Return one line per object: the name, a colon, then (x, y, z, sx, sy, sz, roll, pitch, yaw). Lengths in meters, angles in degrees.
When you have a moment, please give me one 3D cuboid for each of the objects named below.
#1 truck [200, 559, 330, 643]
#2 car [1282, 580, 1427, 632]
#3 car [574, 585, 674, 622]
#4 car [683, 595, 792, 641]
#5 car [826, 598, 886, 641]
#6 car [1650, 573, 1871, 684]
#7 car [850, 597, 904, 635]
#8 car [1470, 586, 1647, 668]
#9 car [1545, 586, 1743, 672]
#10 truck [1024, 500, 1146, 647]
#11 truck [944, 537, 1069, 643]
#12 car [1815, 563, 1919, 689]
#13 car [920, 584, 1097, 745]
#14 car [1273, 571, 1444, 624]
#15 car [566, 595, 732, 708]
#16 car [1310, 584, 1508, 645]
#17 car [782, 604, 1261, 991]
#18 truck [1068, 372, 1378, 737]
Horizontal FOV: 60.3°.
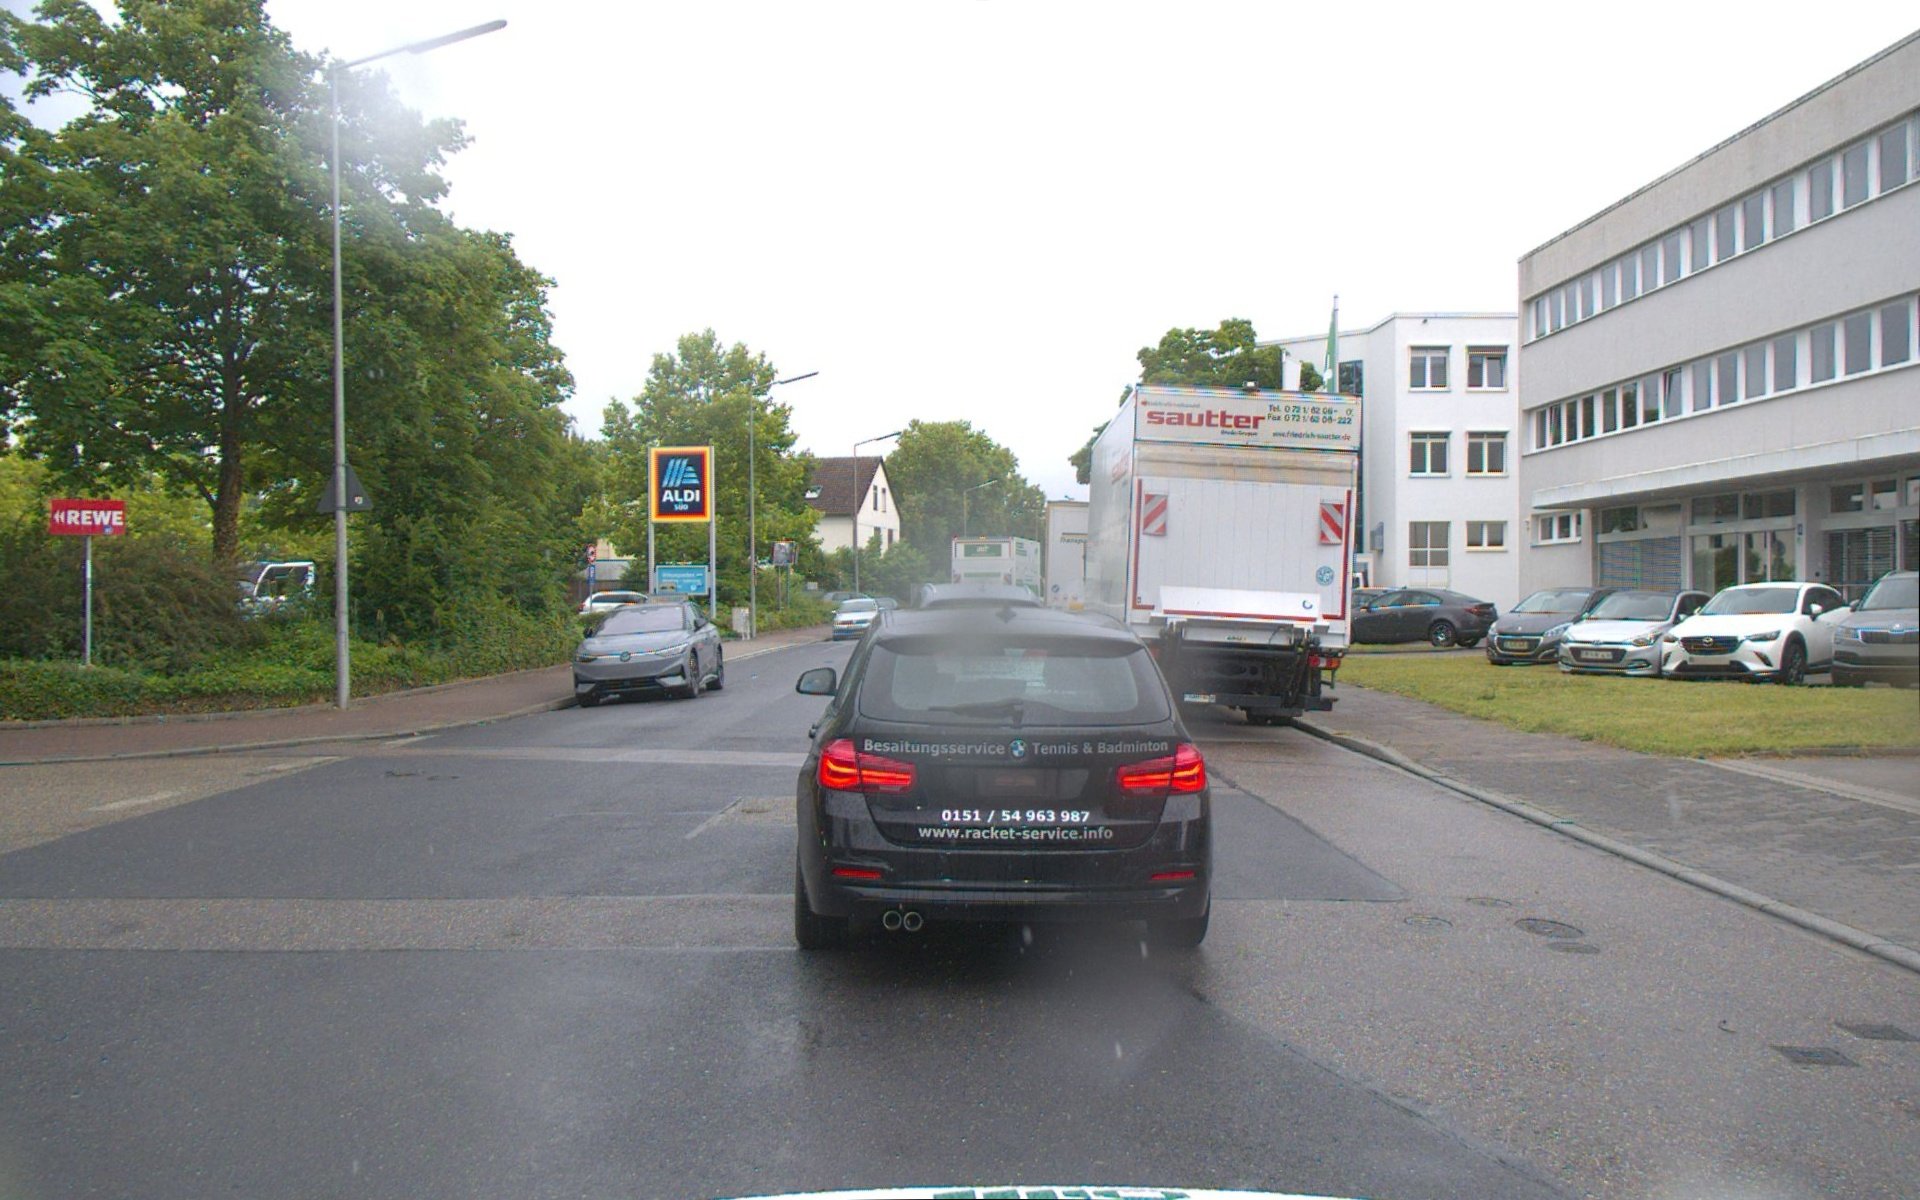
truck: (-24.653, 0.039, 58.971, 1.953, 2.801, 6.466, -1, 0, -1)
car: (12.220, 0.152, 51.349, 4.075, 1.440, 1.682, 2, 3, 41)
car: (-14.572, 0.161, 71.812, 3.904, 1.567, 1.911, 0, 0, 1)
car: (-7.768, 0.625, 57.968, 3.496, 1.485, 1.713, 1, 0, 1)
car: (-3.734, 0.681, 60.136, 1.670, 1.391, 4.602, -3, 0, 2)
car: (11.818, 0.364, 24.307, 1.746, 1.496, 3.971, 0, 0, 45)
car: (-3.303, 0.609, 66.248, 1.670, 1.391, 3.840, -3, 0, 3)
car: (11.129, 0.456, 30.653, 1.678, 1.417, 3.741, 0, 0, 45)
car: (11.448, 0.440, 27.566, 1.678, 1.309, 3.971, 0, 0, 45)
truck: (3.354, -0.689, 46.288, 2.685, 3.674, 7.749, 2, 0, 0)
truck: (1.737, -0.457, 57.334, 2.292, 3.313, 7.756, 3, 3, 16)
car: (13.067, 0.301, 22.104, 1.842, 1.554, 3.972, 0, 0, 45)
car: (0.443, 0.660, 18.764, 1.768, 1.614, 3.998, 0, 0, -2)
car: (15.799, -0.087, 65.678, 6.326, 2.049, 1.998, 0, -1, -5)
car: (-4.966, 0.775, 27.061, 1.772, 1.555, 4.747, -4, 0, -1)
car: (11.436, 0.356, 42.277, 4.586, 1.493, 1.783, 0, 0, 38)
car: (0.172, 0.737, 8.113, 1.768, 1.419, 3.998, 0, 0, -2)
truck: (3.151, -0.510, 22.554, 2.685, 3.855, 9.299, 2, 0, 0)
